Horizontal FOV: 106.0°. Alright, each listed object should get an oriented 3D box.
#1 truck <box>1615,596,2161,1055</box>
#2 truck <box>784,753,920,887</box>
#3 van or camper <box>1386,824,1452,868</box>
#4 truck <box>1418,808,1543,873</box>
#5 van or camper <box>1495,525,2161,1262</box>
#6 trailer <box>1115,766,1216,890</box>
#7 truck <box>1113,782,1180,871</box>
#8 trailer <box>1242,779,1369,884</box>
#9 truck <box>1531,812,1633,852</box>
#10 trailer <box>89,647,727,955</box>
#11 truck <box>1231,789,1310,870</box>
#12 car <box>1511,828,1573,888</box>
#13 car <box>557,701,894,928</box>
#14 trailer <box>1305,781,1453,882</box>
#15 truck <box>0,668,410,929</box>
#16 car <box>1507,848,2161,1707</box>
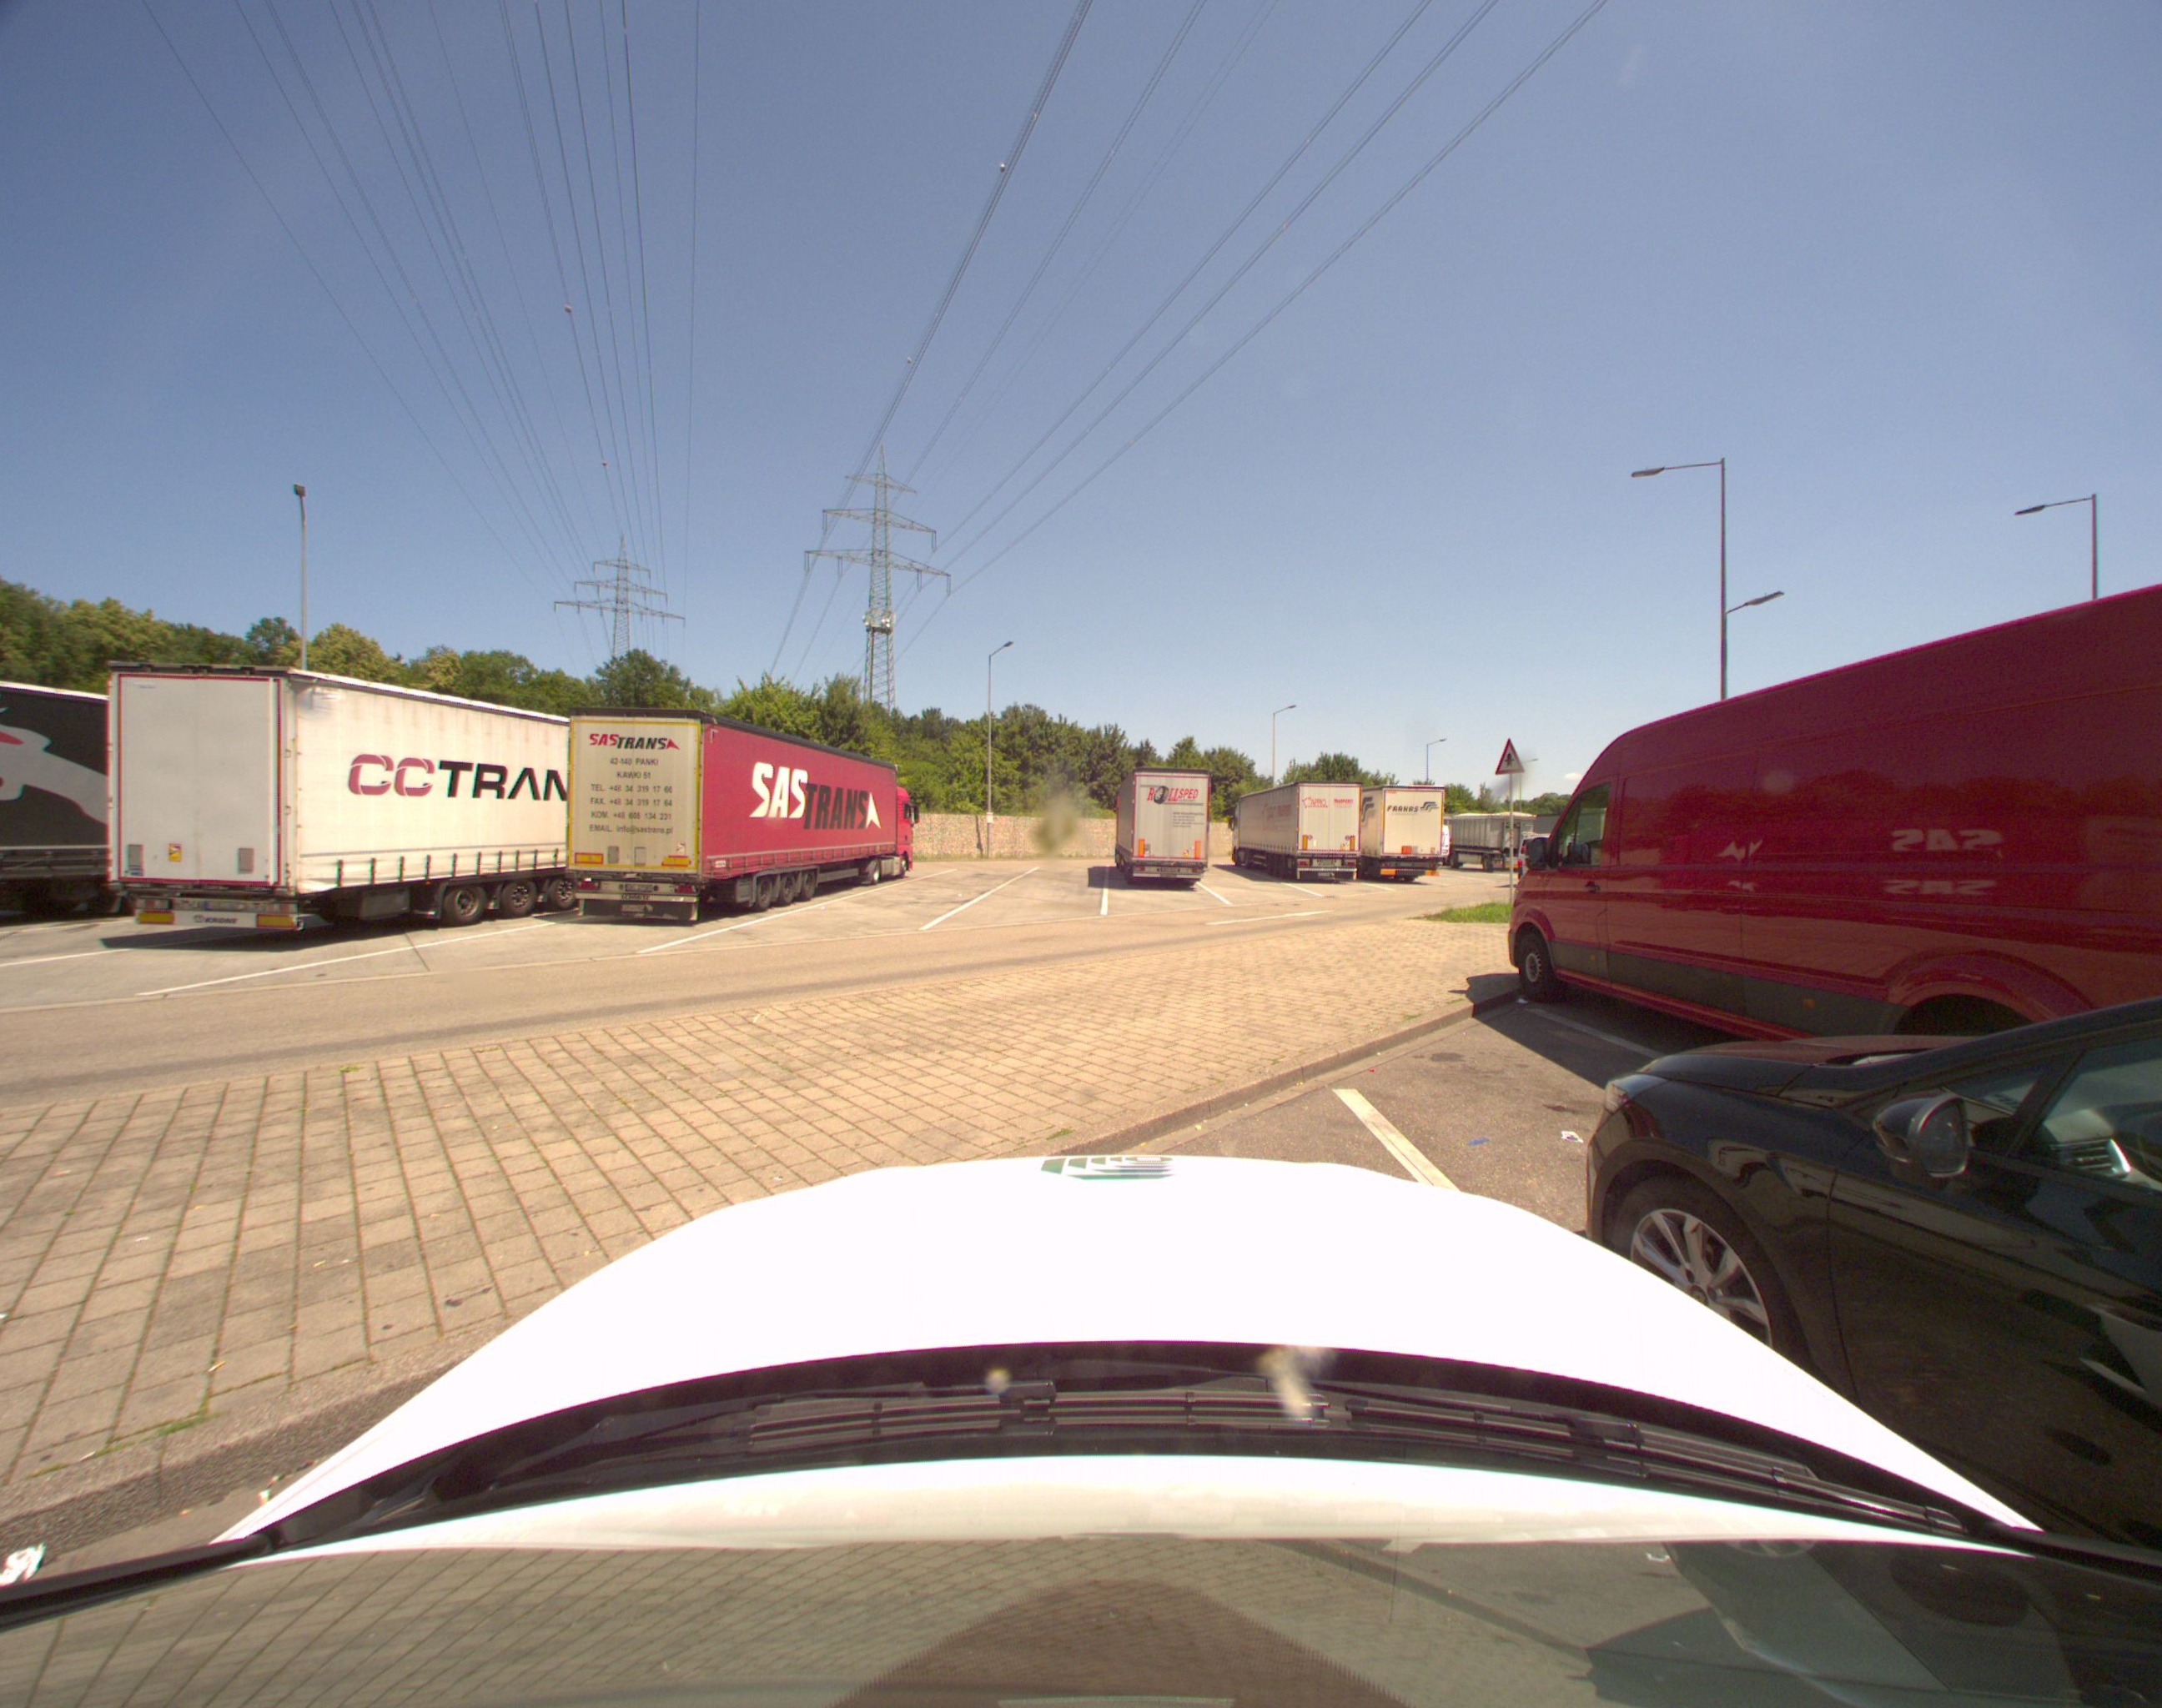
[{"bbox_3d":[7.951,-0.214,7.068,2.455,2.792,6.978,0,1,4],"label":"truck"},{"bbox_3d":[-7.735,-1.153,28.354,2.686,4.112,6.243,1,2,2],"label":"truck"},{"bbox_3d":[20.876,-0.524,50.502,2.096,2.561,5.376,-1,1,3],"label":"van or camper"},{"bbox_3d":[24.316,-0.960,50.502,2.478,3.568,11.429,0,2,2],"label":"truck"},{"bbox_3d":[5.150,0.097,5.496,1.986,2.654,6.490,-1,1,6],"label":"van or camper"},{"bbox_3d":[3.060,-1.105,33.733,2.857,4.037,14.244,0,2,1],"label":"trailer"},{"bbox_3d":[3.154,-1.394,40.821,2.857,4.037,7.029,0,2,1],"label":"truck"},{"bbox_3d":[9.969,-1.105,37.905,2.855,4.037,12.445,0,2,2],"label":"trailer"},{"bbox_3d":[38.051,-1.649,62.379,2.117,2.820,9.783,-1,1,2],"label":"truck"},{"bbox_3d":[-12.150,-0.975,17.794,2.803,4.266,12.947,0,2,2],"label":"trailer"},{"bbox_3d":[10.196,-1.369,44.537,2.856,4.037,6.960,0,2,2],"label":"truck"},{"bbox_3d":[18.033,0.088,32.030,1.975,2.150,5.345,0,1,28],"label":"car"},{"bbox_3d":[-8.036,-0.935,21.438,2.686,4.112,12.943,1,2,2],"label":"car"},{"bbox_3d":[13.657,-1.126,38.880,2.855,4.037,12.445,0,2,2],"label":"trailer"},{"bbox_3d":[-18.605,-1.021,16.276,2.803,4.190,8.793,0,2,2],"label":"truck"},{"bbox_3d":[2.466,0.753,1.145,1.612,1.483,3.762,-1,1,-4],"label":"car"}]
